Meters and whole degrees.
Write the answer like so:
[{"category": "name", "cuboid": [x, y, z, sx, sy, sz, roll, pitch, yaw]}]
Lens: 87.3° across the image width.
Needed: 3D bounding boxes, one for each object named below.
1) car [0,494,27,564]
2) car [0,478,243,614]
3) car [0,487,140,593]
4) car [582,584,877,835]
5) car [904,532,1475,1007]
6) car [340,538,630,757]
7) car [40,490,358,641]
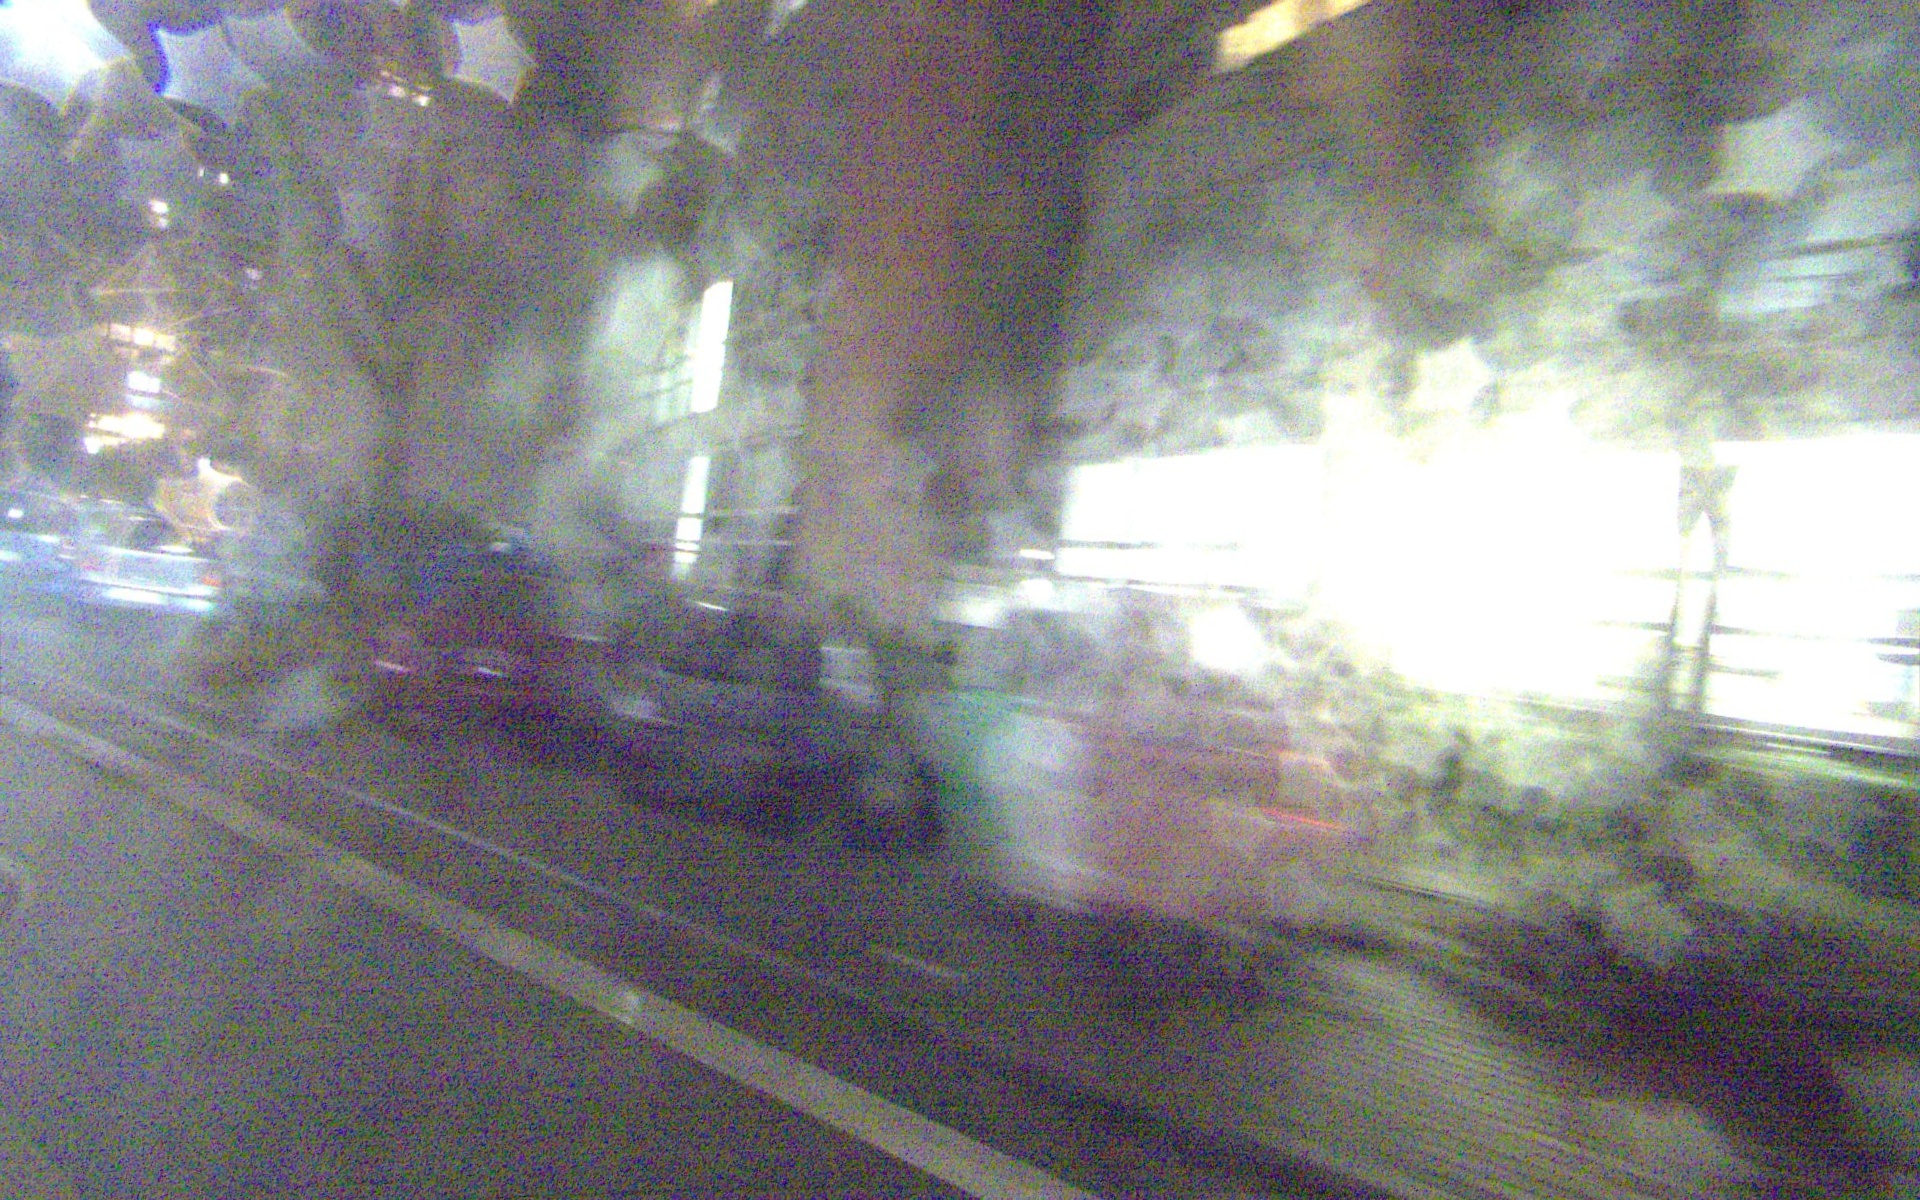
[{"category": "car", "cuboid": [-20.822, -1.628, 19.811, 1.610, 1.447, 3.823, 8, -2, -10]}, {"category": "car", "cuboid": [-12.210, -0.703, 14.139, 1.791, 1.551, 3.884, 8, -2, -9]}, {"category": "car", "cuboid": [-15.739, -1.044, 16.779, 1.679, 1.550, 3.741, 10, -3, -16]}, {"category": "car", "cuboid": [-1.602, 0.750, 8.084, 1.602, 1.401, 3.338, 8, -2, -3]}, {"category": "car", "cuboid": [0.948, 0.830, 6.481, 1.930, 1.859, 4.170, 9, -3, -9]}, {"category": "car", "cuboid": [-4.178, 0.297, 9.570, 1.667, 1.421, 4.441, 8, 0, -16]}, {"category": "car", "cuboid": [-9.726, -0.348, 13.293, 1.793, 1.449, 3.848, 8, -2, -13]}]
